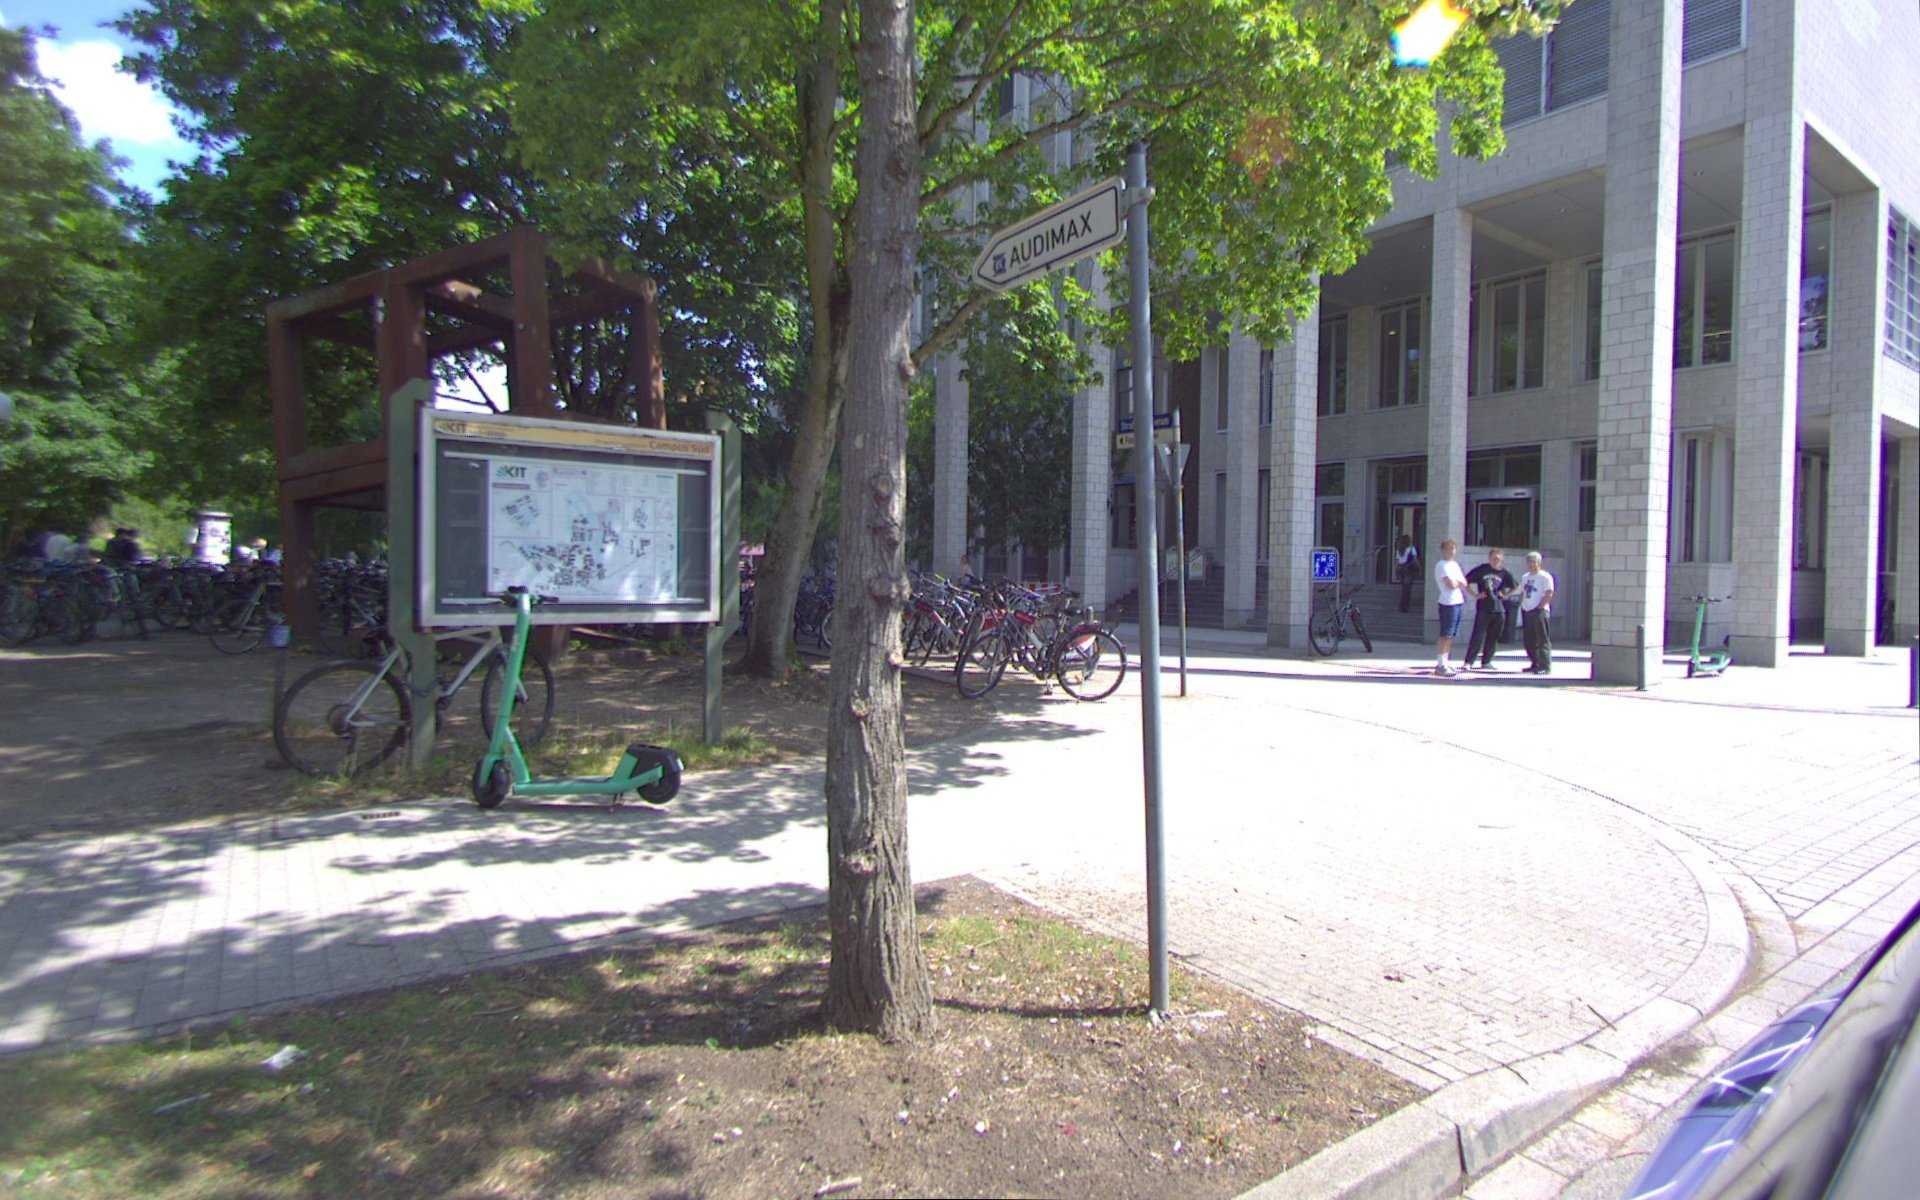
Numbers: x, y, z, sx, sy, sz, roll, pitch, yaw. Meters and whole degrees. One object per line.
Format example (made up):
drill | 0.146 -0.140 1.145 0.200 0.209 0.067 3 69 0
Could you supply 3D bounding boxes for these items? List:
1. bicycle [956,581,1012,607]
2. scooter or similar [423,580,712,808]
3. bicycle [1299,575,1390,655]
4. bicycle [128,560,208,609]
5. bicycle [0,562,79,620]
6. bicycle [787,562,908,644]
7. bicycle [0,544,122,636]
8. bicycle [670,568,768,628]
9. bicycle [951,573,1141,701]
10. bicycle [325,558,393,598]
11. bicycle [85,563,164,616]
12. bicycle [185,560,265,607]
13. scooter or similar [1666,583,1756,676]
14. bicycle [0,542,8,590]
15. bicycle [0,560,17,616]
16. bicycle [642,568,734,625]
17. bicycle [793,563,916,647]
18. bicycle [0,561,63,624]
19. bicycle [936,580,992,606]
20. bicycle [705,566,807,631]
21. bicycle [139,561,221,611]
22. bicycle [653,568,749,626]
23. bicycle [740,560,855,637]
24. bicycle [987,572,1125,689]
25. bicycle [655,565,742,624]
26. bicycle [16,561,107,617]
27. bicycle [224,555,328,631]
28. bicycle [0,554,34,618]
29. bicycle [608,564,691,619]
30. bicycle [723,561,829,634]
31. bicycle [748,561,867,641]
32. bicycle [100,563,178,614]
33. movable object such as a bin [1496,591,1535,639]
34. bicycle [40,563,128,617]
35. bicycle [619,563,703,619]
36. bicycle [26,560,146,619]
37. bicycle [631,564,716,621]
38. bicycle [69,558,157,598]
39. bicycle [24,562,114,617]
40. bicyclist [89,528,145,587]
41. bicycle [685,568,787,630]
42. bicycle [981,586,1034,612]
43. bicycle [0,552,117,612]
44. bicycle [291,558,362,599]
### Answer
bicycle | 0.791 -0.206 33.697 0.633 0.769 1.985 1 2 -45
scooter or similar | -2.041 0.489 5.397 1.334 1.128 0.498 2 1 -11
bicycle | 6.457 0.216 16.943 1.796 1.257 0.532 -1 2 -37
bicycle | -17.948 -0.345 22.957 1.442 1.098 0.353 0 -1 -6
bicycle | -17.750 -0.176 19.377 1.443 1.097 0.353 0 -1 -1
bicycle | -1.665 0.055 15.089 1.662 1.139 0.567 2 2 -30
bicycle | -12.272 -0.146 13.754 1.819 1.185 0.411 2 1 16
bicycle | -4.406 -0.028 18.590 1.658 1.061 0.617 1 -2 -41
bicycle | 0.812 0.344 9.882 1.751 1.155 0.607 1 3 -2
bicycle | -16.781 -0.618 28.273 1.658 1.098 0.478 0 -1 4
bicycle | -17.591 -0.223 21.308 1.446 1.098 0.352 0 -1 6
bicycle | -17.398 -0.378 23.962 1.660 1.098 0.477 0 -1 9
scooter or similar | 10.743 0.393 14.465 1.482 1.226 0.565 -1 4 -37
bicycle | -22.983 -0.809 23.479 1.583 1.107 0.347 2 2 6
bicycle | -18.264 -0.246 18.572 1.772 0.991 0.378 2 2 9
bicycle | -5.248 -0.051 19.584 1.658 1.061 0.500 1 -2 -41
bicycle | -1.504 0.085 14.583 1.662 1.139 0.483 2 2 -30
bicycle | -16.022 -0.143 16.950 1.874 0.991 0.477 2 2 12
bicycle | 0.119 -0.234 33.297 0.633 0.769 1.985 1 2 -45
bicycle | -3.478 -0.010 17.349 1.668 1.061 0.567 1 -2 -43
bicycle | -17.448 -0.298 22.640 1.441 1.098 0.353 0 -1 -9
bicycle | -4.881 -0.037 19.133 1.658 1.061 0.617 1 -2 -41
bicycle | -2.609 -0.009 16.319 1.663 1.164 0.628 2 2 -34
bicycle | 1.038 0.291 10.844 1.463 1.155 0.561 -1 4 -38
bicycle | -5.241 -0.090 20.332 1.658 1.144 0.453 1 -2 -41
bicycle | -17.736 -0.214 19.987 1.443 1.098 0.353 0 -1 -2
bicycle | -11.344 -0.136 16.773 1.822 1.185 0.434 2 1 20
bicycle | -15.976 -0.256 16.452 1.878 0.991 0.476 2 2 17
bicycle | -6.687 -0.163 21.852 1.658 1.144 0.453 1 -2 -41
bicycle | -3.041 -0.029 16.847 1.668 1.165 0.626 1 -2 -44
bicycle | -2.352 0.021 15.628 1.662 1.139 0.629 2 2 -30
bicycle | -17.565 -0.243 21.665 1.446 1.098 0.352 0 -1 6
movable object such as a bin | 11.885 0.314 21.644 0.502 0.961 0.513 1 4 -37
bicycle | -17.917 -0.203 20.701 1.443 1.098 0.353 0 -1 -2
bicycle | -6.310 -0.168 21.403 1.658 1.144 0.453 1 -2 -41
bicycle | -15.712 -0.195 18.200 1.870 0.991 0.478 2 2 6
bicycle | -5.897 -0.138 20.901 1.658 1.144 0.453 1 -2 -41
bicycle | -21.433 -0.581 25.651 0.577 0.942 1.748 4 3 11
bicycle | -17.901 -0.211 20.343 1.443 1.098 0.353 0 -1 -2
bicyclist | -21.420 -1.076 25.729 0.733 1.464 0.801 2 1 12
bicycle | -3.973 -0.007 17.993 1.661 1.061 0.618 1 -1 -28
bicycle | 1.591 -0.053 34.036 0.632 0.769 1.989 1 2 -38
bicycle | -15.792 -0.326 17.667 1.870 0.991 0.478 2 2 6
bicycle | -17.172 -0.587 27.436 1.658 1.098 0.478 0 -1 4
